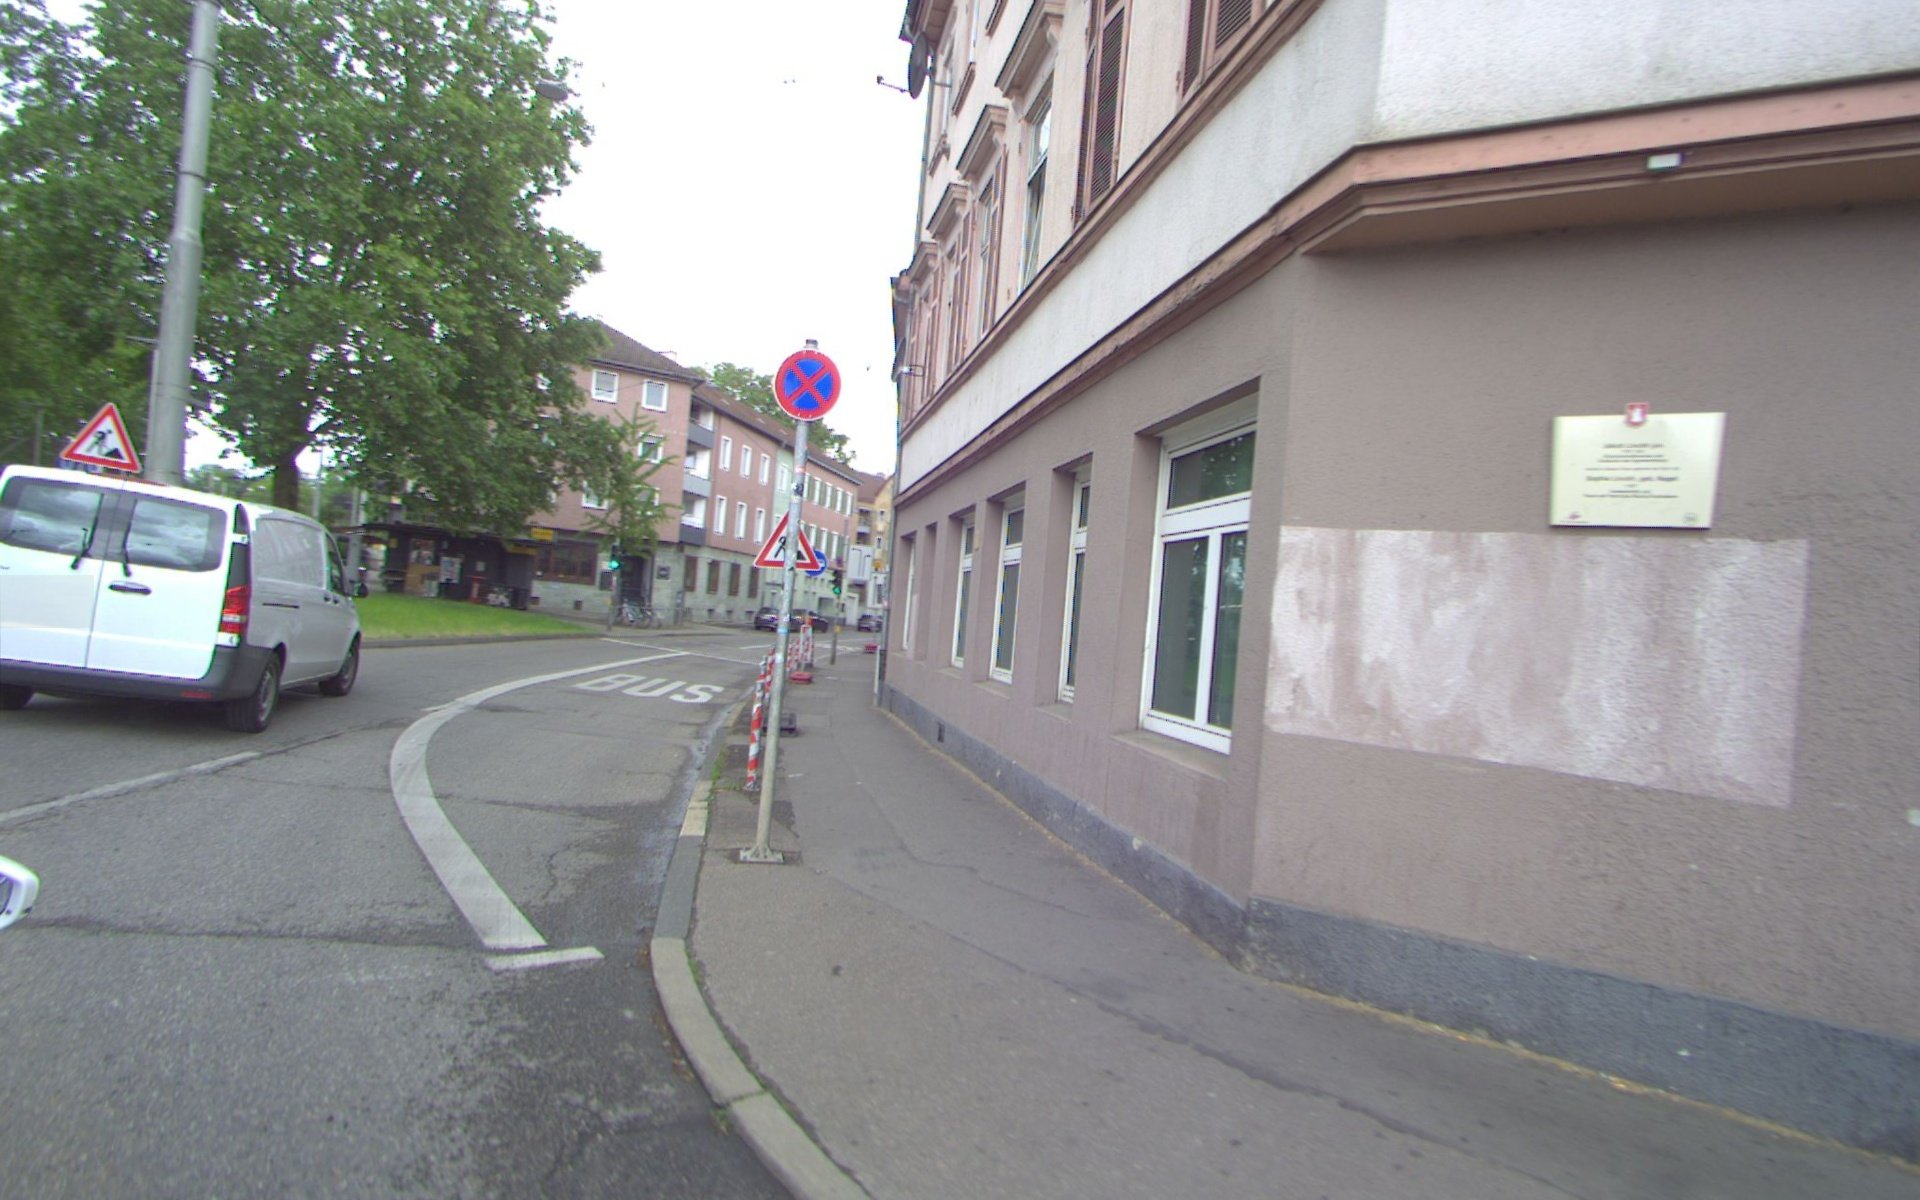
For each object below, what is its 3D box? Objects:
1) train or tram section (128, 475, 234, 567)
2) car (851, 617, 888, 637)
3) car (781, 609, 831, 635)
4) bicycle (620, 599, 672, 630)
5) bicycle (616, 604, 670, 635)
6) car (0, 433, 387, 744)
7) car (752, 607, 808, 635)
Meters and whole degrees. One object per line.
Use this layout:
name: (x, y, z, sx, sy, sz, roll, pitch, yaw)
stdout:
train or tram section: (-35.913, -3.487, 46.658, 2.557, 3.492, 7.705, 5, -2, -29)
car: (-7.296, 2.215, 81.265, 1.961, 1.414, 4.004, 4, -2, 10)
car: (-9.931, 1.453, 65.227, 1.961, 1.414, 4.004, 4, -2, 10)
bicycle: (-12.992, 0.608, 41.668, 1.973, 1.047, 0.561, 7, -2, -17)
bicycle: (-12.730, 0.795, 40.453, 1.973, 1.047, 0.561, 7, -2, -17)
car: (-6.919, -0.039, 9.272, 1.930, 2.037, 4.680, 6, -3, -20)
car: (-10.717, 1.262, 60.096, 1.961, 1.414, 4.004, 4, -2, 10)
